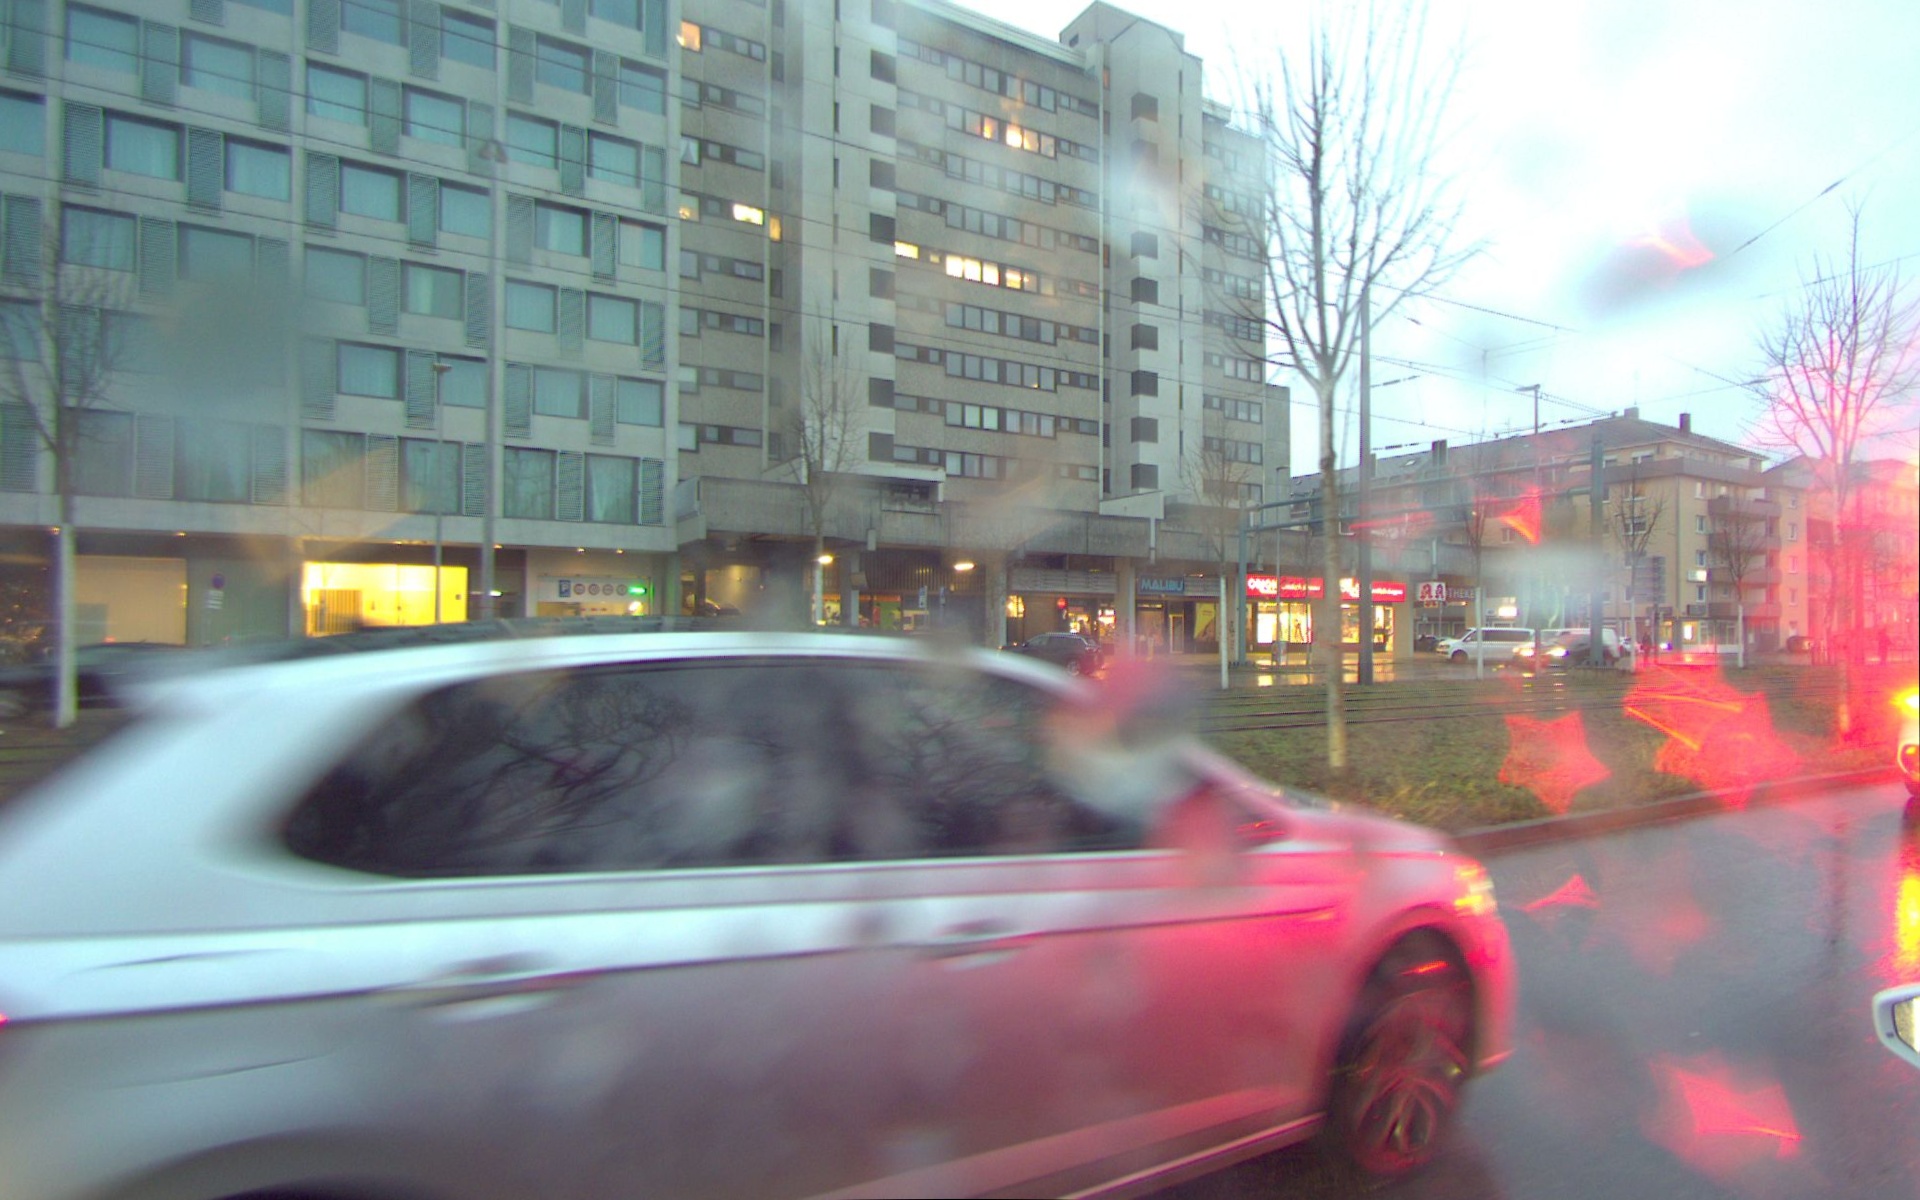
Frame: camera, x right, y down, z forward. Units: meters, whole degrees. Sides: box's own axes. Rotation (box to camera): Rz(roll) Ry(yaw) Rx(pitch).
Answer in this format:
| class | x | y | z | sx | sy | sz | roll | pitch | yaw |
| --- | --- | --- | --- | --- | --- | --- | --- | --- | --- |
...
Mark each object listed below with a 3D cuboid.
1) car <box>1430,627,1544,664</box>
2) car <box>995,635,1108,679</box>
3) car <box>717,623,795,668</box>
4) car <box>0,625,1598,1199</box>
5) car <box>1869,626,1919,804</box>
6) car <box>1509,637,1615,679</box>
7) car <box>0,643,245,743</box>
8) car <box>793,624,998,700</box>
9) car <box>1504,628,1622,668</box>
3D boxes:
| class | x | y | z | sx | sy | sz | roll | pitch | yaw |
| --- | --- | --- | --- | --- | --- | --- | --- | --- | --- |
| car | 27.910 | 2.392 | 53.368 | 5.059 | 1.937 | 2.001 | 0 | -2 | 15 |
| car | 3.555 | 2.166 | 38.958 | 3.925 | 1.405 | 1.935 | 2 | 0 | 25 |
| car | -8.308 | 1.816 | 40.686 | 1.709 | 1.718 | 4.336 | 1 | -2 | -32 |
| car | -0.291 | 0.803 | 2.661 | 3.935 | 1.389 | 1.754 | 2 | -1 | -31 |
| car | 9.964 | 0.987 | 8.746 | 4.562 | 1.424 | 1.837 | 2 | -1 | -31 |
| car | 25.386 | 2.398 | 42.318 | 4.526 | 1.655 | 1.887 | 1 | -2 | -30 |
| car | -16.927 | 1.731 | 19.392 | 4.858 | 1.741 | 1.887 | 1 | -2 | -30 |
| car | -1.571 | 1.486 | 25.207 | 4.861 | 1.741 | 1.886 | 1 | -2 | -32 |
| car | 30.180 | 2.393 | 50.302 | 5.074 | 1.937 | 1.996 | 0 | -2 | -13 |
